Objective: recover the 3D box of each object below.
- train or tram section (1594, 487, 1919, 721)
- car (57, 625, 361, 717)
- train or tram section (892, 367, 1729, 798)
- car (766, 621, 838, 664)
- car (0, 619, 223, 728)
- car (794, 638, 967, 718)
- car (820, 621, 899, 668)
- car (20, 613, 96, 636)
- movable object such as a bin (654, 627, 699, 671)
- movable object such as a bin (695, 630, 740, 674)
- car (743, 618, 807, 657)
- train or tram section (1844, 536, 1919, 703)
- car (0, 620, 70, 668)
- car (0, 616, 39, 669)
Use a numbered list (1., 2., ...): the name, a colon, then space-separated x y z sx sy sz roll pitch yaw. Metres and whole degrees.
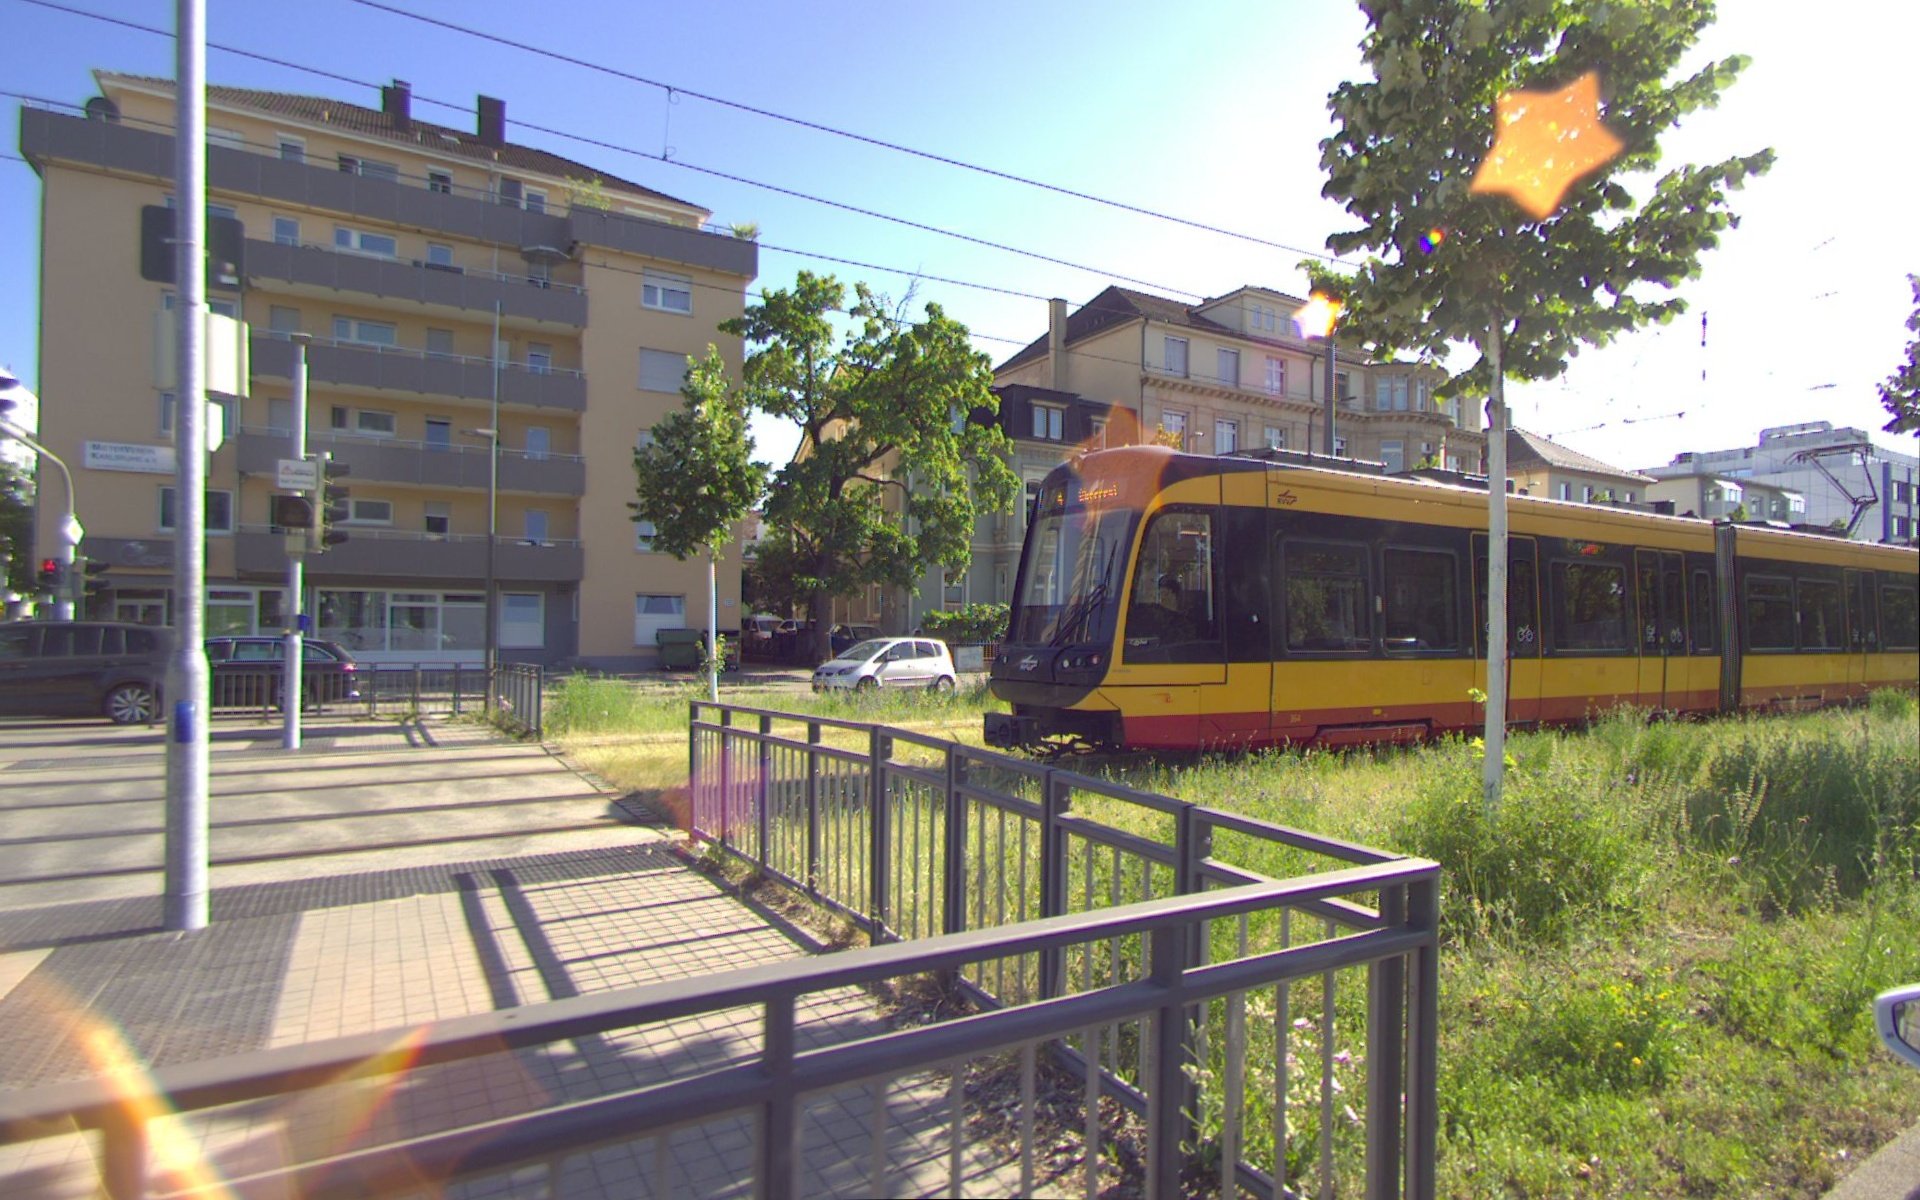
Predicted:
1. train or tram section: 16.483 0.205 19.753 11.187 3.718 1.983 2 -1 -31
2. car: -14.191 1.325 19.381 4.457 1.599 1.983 2 -3 -32
3. train or tram section: 5.787 0.029 13.194 13.993 3.718 1.983 2 -1 -32
4. car: -6.790 1.775 42.823 1.974 1.684 3.974 2 -1 -26
5. car: -14.459 1.131 15.778 4.457 1.599 1.983 2 -3 -32
6. car: -1.935 1.877 25.106 3.969 1.773 1.912 2 -1 -41
7. car: -3.994 1.720 39.429 1.806 1.684 3.974 2 -1 -26
8. car: -68.012 1.855 75.805 3.959 1.662 1.981 2 -1 -35
9. movable object such as a bin: -9.696 1.677 34.297 1.274 1.438 1.260 1 -1 -26
10. movable object such as a bin: -8.412 1.790 34.830 1.274 1.438 1.260 1 -1 -26
11. car: -8.785 1.731 47.410 1.974 1.684 3.974 2 -1 -26
12. train or tram section: 26.180 0.591 25.603 11.548 3.718 1.984 2 -1 -31
13. car: -35.207 1.605 37.680 1.977 1.639 3.967 2 -1 -31
14. car: -32.832 1.398 33.730 1.977 1.639 3.967 2 -1 -31
